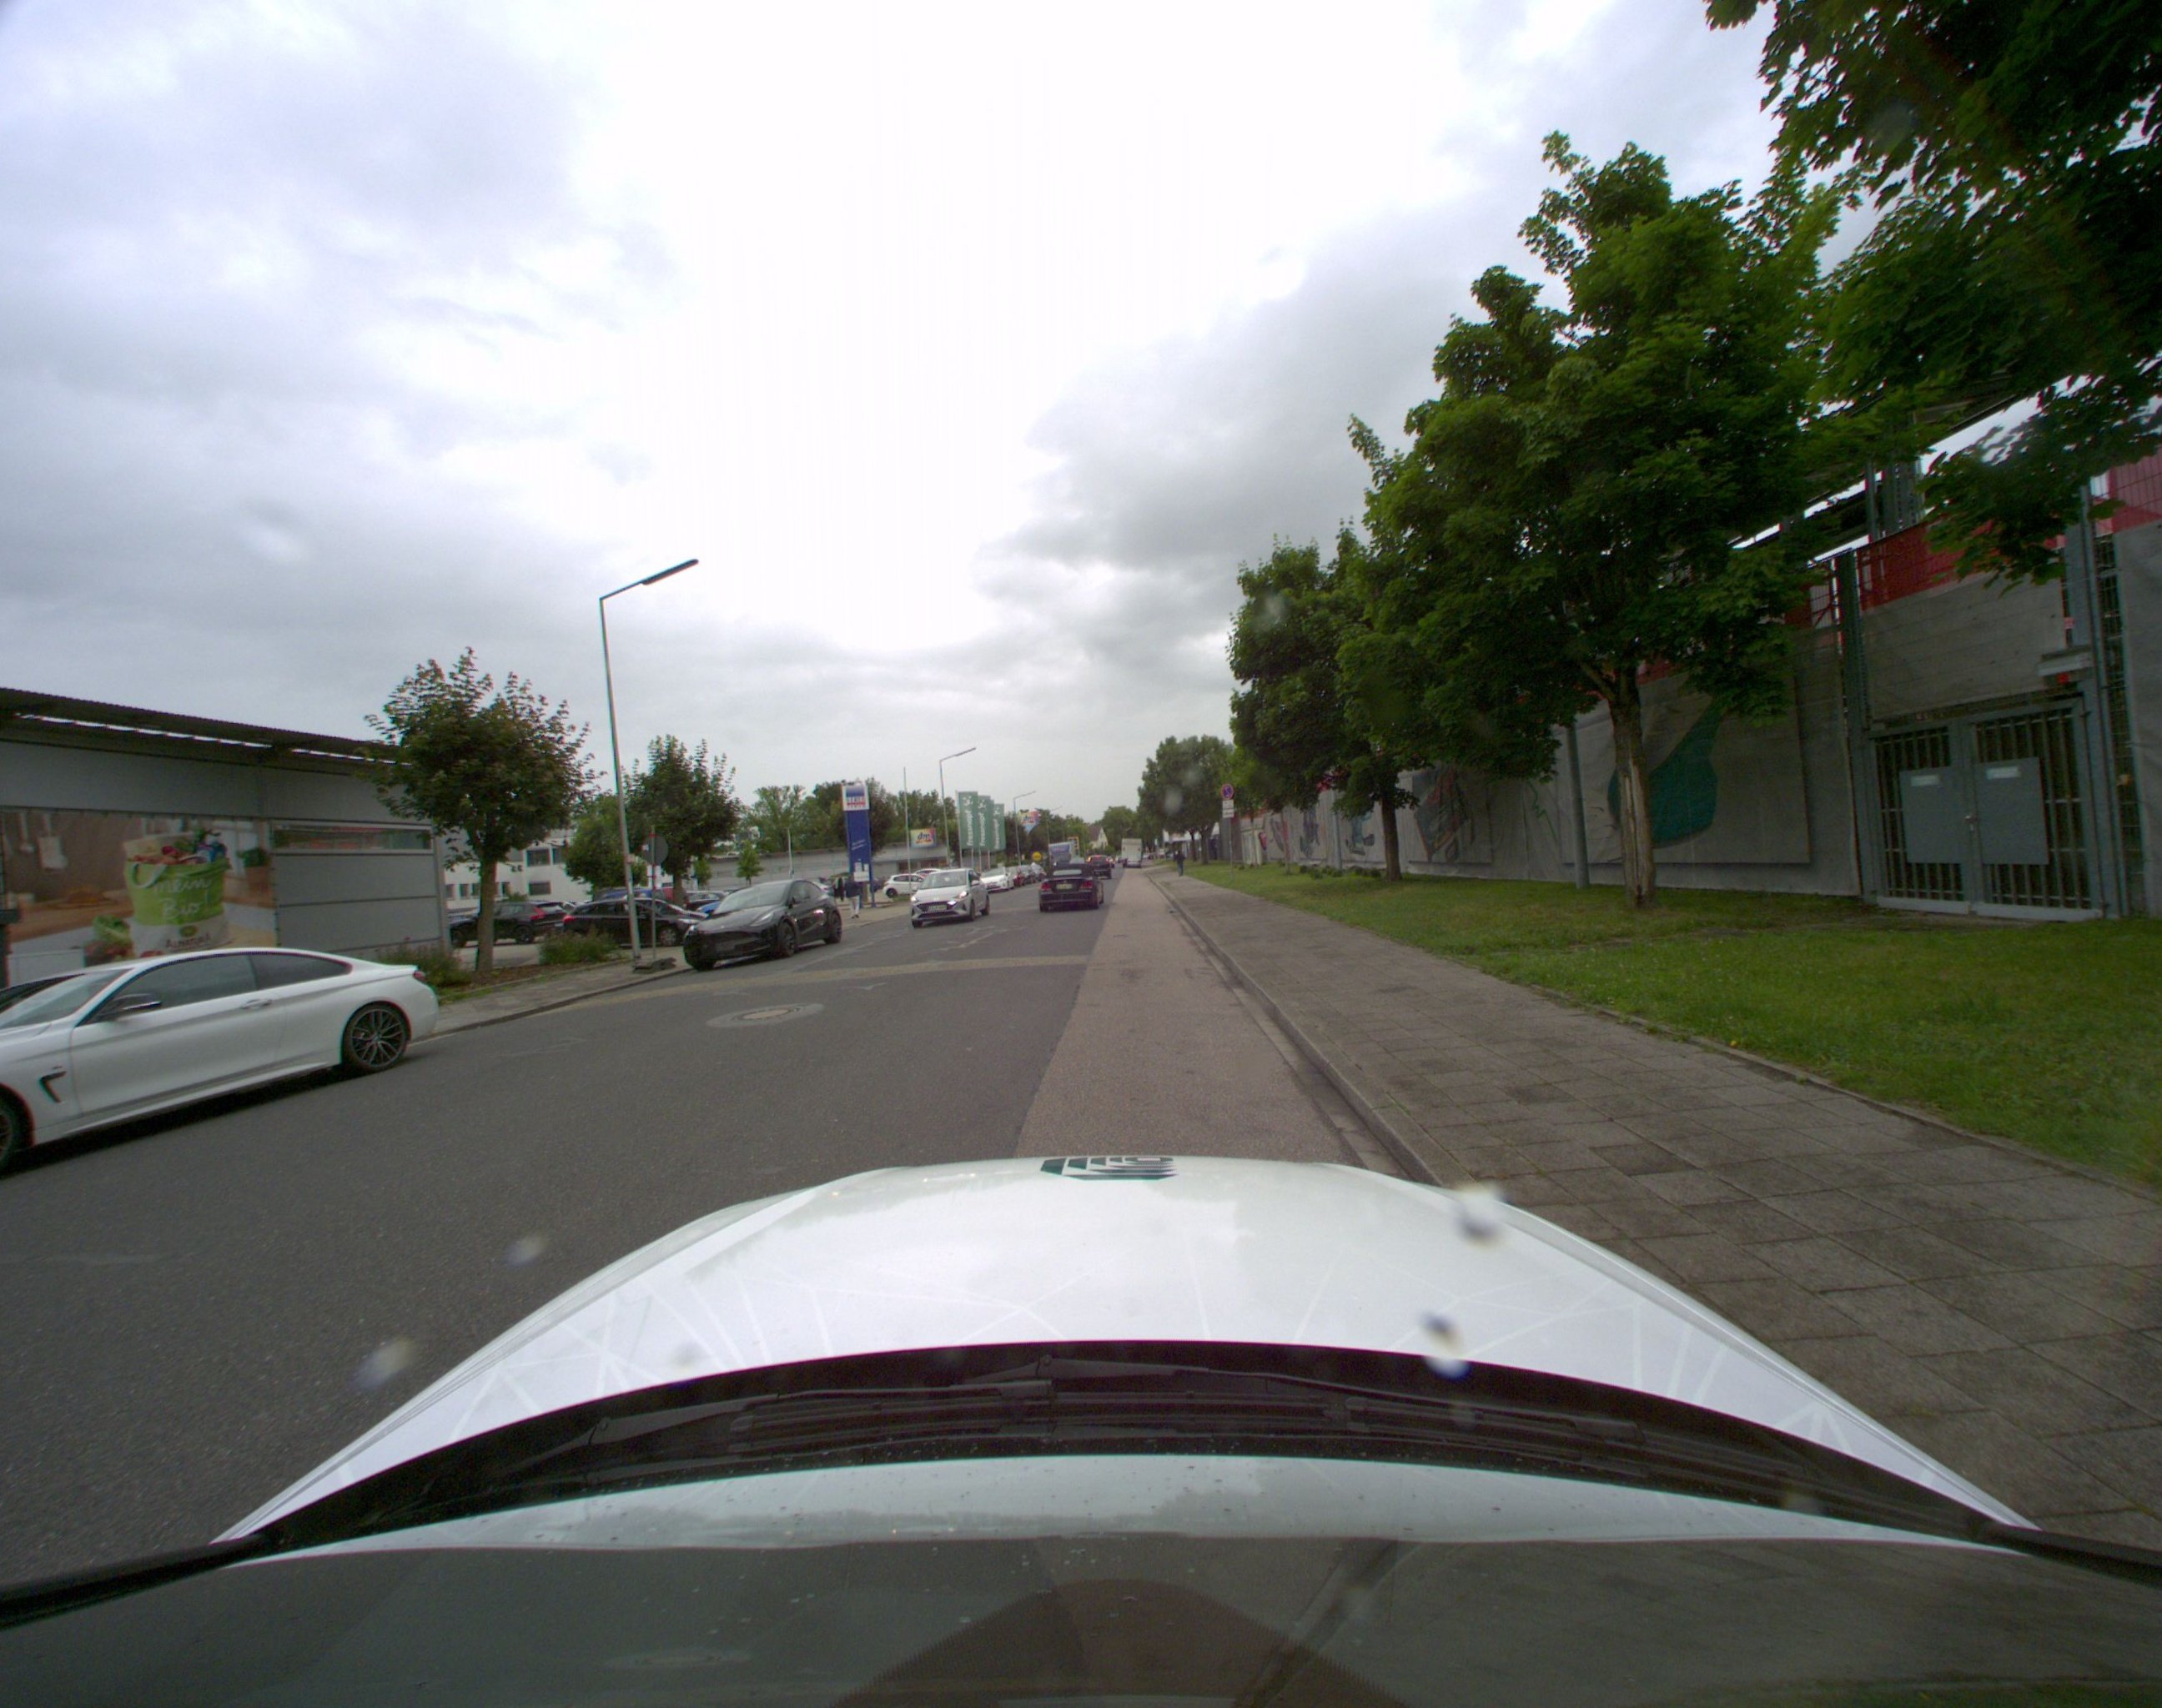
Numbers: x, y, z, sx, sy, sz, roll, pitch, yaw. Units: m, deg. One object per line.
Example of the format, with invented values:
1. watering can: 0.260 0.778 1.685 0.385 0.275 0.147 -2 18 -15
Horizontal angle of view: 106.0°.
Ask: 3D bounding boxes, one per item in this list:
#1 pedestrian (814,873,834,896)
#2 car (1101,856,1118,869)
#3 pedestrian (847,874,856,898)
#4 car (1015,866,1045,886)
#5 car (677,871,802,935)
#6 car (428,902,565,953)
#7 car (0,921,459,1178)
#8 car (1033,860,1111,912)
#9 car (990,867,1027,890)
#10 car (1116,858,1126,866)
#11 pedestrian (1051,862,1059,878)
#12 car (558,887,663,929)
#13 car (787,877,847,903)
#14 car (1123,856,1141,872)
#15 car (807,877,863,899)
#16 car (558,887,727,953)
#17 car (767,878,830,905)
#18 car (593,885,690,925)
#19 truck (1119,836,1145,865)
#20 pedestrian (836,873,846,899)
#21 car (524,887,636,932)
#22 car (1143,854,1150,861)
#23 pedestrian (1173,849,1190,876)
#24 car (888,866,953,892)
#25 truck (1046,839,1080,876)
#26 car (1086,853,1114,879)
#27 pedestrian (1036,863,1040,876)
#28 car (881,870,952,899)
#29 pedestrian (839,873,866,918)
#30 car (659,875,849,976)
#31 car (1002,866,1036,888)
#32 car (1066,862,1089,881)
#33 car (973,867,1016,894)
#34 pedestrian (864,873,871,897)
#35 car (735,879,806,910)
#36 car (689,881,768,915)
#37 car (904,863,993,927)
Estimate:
1. pedestrian: -24.553 2.926 77.873 1.394 2.013 1.197 -4 -1 -37
2. car: 3.614 1.005 103.529 1.878 1.531 4.259 -3 0 4
3. pedestrian: -15.143 2.092 53.738 0.359 1.570 0.503 -4 -1 -7
4. car: -4.202 1.796 67.732 1.890 1.367 4.004 -5 0 4
5. car: -13.067 1.857 31.346 3.922 2.013 1.759 -5 -1 -4
6. car: -22.551 2.802 31.623 4.012 1.485 1.859 -5 -1 -29
7. car: -7.738 1.527 6.516 1.692 1.367 4.521 -9 -1 3
8. car: -0.197 0.916 25.018 1.736 1.358 4.146 -4 -1 7
9. car: -4.982 1.657 56.498 1.890 1.367 4.004 -5 0 4
10. car: 8.271 1.726 167.734 1.878 1.531 4.259 -3 0 4
11. pedestrian: -2.732 1.649 84.678 0.628 1.636 0.668 -5 -1 2
12. car: -23.232 2.641 40.312 3.970 1.669 1.878 -5 -1 3
13. car: -20.842 2.854 64.335 3.970 1.669 1.878 -5 -1 3
14. car: 6.230 1.185 100.240 1.986 1.806 4.002 -3 -1 2
15. car: -20.523 2.840 68.022 3.969 1.492 1.788 -5 -1 4
16. car: -12.825 1.912 23.998 3.857 1.620 1.929 -3 0 3
17. car: -21.379 2.840 61.708 3.970 1.669 1.878 -5 -1 3
18. car: -23.018 2.669 42.720 3.970 1.669 1.878 -5 -1 3
19. truck: 6.751 -0.370 109.491 3.123 3.585 10.055 -3 -1 2
20. pedestrian: -15.788 2.114 53.573 0.456 1.642 0.372 -4 -1 -14
21. car: -23.367 2.582 38.055 3.970 1.669 1.878 -5 -1 3
22. car: 17.428 0.976 217.694 1.878 1.683 4.259 -3 0 4
23. pedestrian: 6.266 0.518 50.790 0.914 1.635 0.854 -3 -1 5
24. car: -11.271 1.743 57.496 4.125 1.463 1.897 -5 -1 -2
25. truck: -2.021 0.418 95.416 2.961 3.955 6.411 -6 0 4
26. car: 1.287 0.826 56.120 1.676 1.632 3.757 -5 0 -1
27. pedestrian: -5.147 1.878 97.931 0.401 1.531 0.485 -5 -1 -3
28. car: -10.554 1.943 52.503 4.196 1.463 1.950 -5 -1 -5
29. pedestrian: -8.994 1.626 32.053 0.773 1.715 0.696 -4 -1 -1
30. car: -6.708 1.379 17.330 1.940 1.526 4.404 -9 -1 2
31. car: -4.673 1.729 61.986 1.890 1.367 4.004 -5 0 4
32. car: -0.311 1.714 79.380 1.986 1.684 4.002 -3 -1 2
33. car: -5.236 1.585 49.877 1.890 1.367 4.004 -5 -1 4
34. pedestrian: -13.930 2.022 53.212 0.329 1.570 0.502 -3 -1 -8
35. car: -21.133 2.739 55.468 3.970 1.669 1.878 -5 -1 3
36. car: -21.879 2.728 50.648 3.970 1.669 1.878 -5 -1 3
37. car: -3.693 1.104 23.248 1.592 1.528 3.532 -6 -1 4
